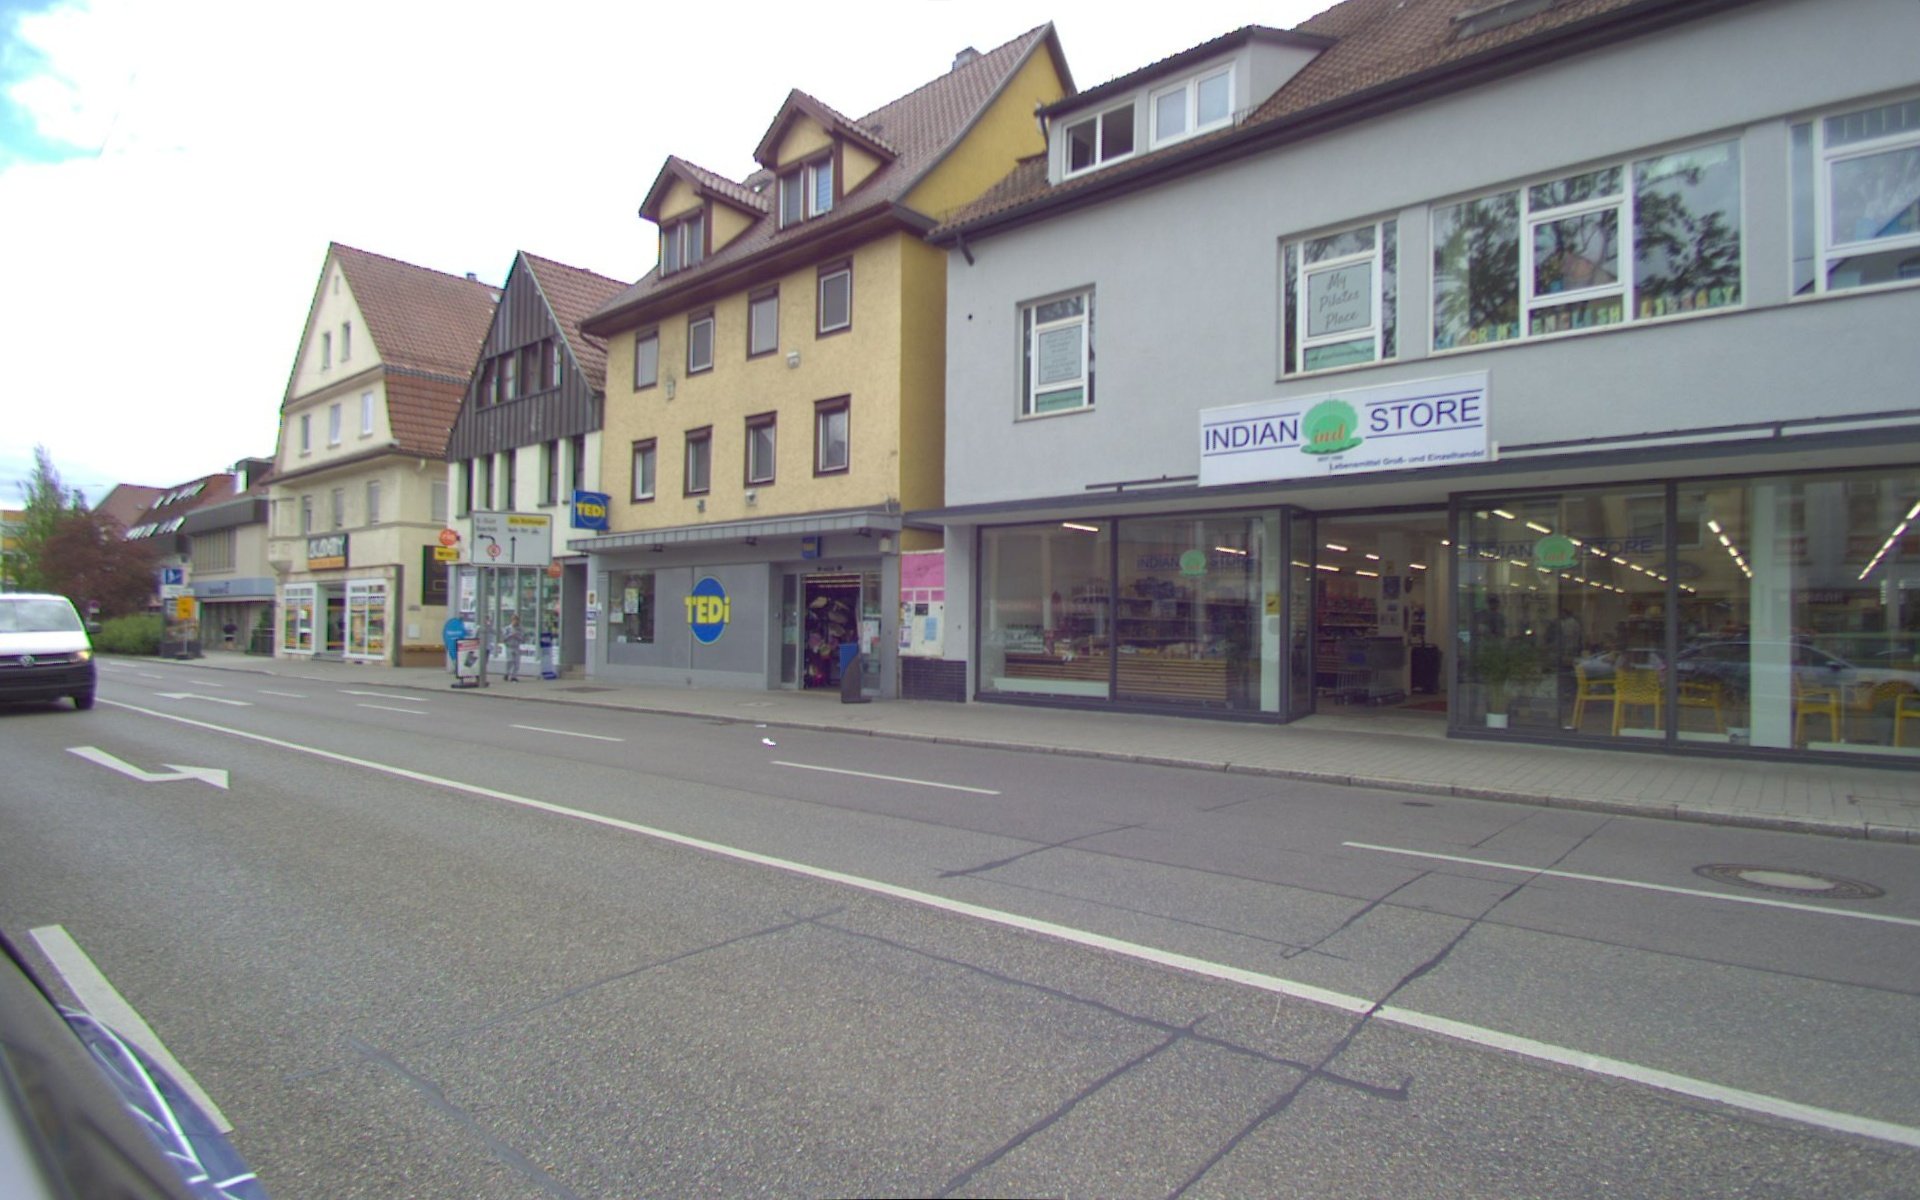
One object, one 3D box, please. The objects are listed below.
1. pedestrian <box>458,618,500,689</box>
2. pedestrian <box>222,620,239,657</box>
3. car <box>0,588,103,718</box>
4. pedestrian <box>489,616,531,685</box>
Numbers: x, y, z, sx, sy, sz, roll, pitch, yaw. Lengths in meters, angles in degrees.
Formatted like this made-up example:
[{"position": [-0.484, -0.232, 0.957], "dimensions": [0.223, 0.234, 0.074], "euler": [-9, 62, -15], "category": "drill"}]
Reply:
[{"position": [-11.834, 1.301, 24.902], "dimensions": [0.742, 1.703, 0.680], "euler": [-2, -1, 41], "category": "pedestrian"}, {"position": [-38.233, 2.022, 53.055], "dimensions": [0.592, 1.903, 0.544], "euler": [-2, -1, 37], "category": "pedestrian"}, {"position": [-16.231, 0.868, 17.228], "dimensions": [4.850, 1.974, 1.806], "euler": [-2, -2, 41], "category": "car"}, {"position": [-11.361, 1.266, 25.537], "dimensions": [0.709, 1.683, 0.681], "euler": [-2, 0, 41], "category": "pedestrian"}]
